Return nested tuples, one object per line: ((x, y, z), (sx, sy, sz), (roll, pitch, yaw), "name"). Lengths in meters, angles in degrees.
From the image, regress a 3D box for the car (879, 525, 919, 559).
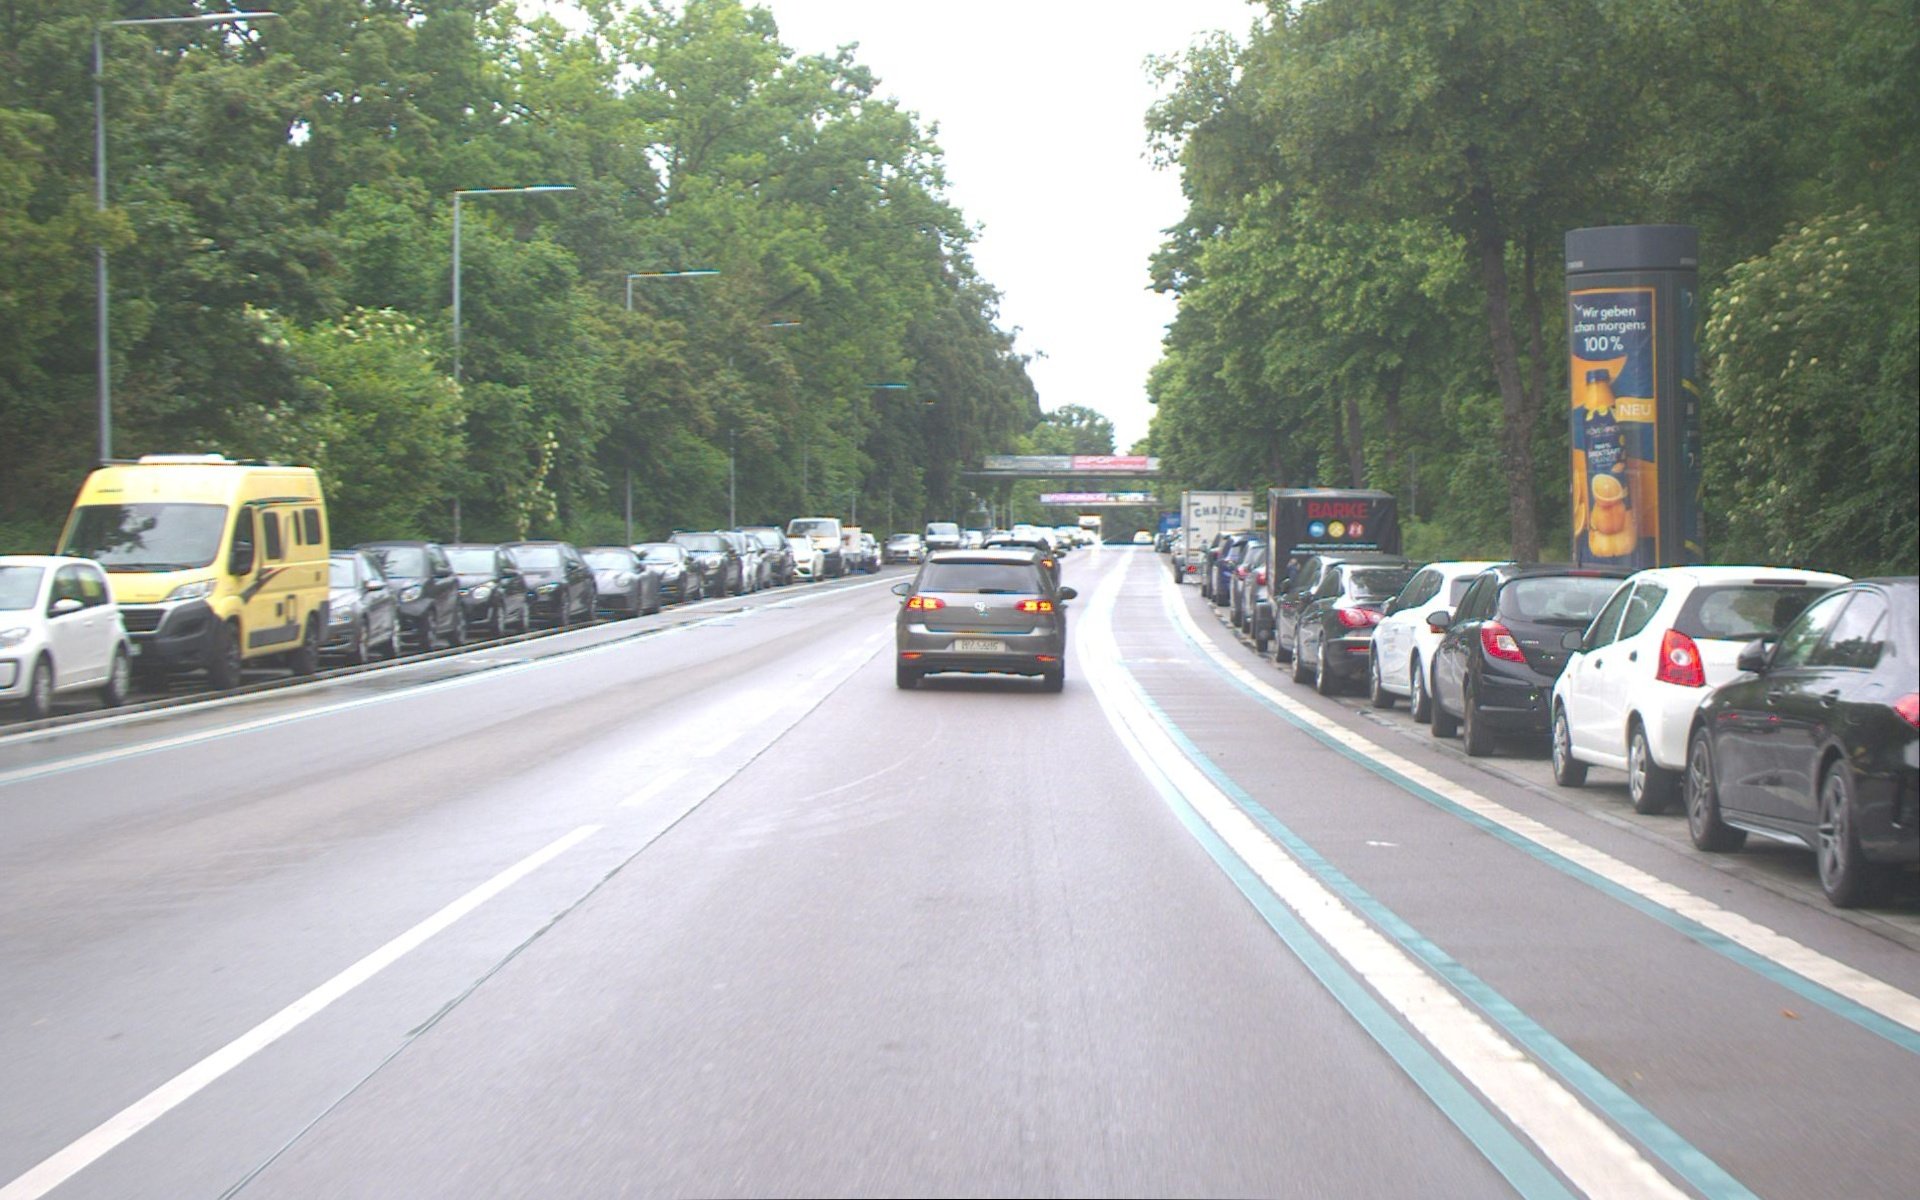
((-2.796, -2.689, 158.289), (1.672, 1.508, 3.630), (1, 2, 2), "car")

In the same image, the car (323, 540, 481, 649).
((-8.046, -0.101, 49.816), (1.603, 1.505, 3.138), (0, 1, 4), "car")

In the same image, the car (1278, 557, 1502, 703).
((4.554, 0.278, 36.992), (1.751, 1.388, 4.446), (2, 1, -1), "car")

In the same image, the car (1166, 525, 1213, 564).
((9.548, -2.317, 142.981), (1.897, 1.601, 4.000), (0, 1, 3), "car")

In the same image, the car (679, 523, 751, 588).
((-5.976, -1.102, 84.093), (1.461, 1.566, 2.984), (0, 1, 2), "car")

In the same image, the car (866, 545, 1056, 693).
((0.034, 0.191, 36.644), (1.871, 1.436, 4.296), (2, 0, 1), "car")

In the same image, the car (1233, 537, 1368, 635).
((5.249, -0.246, 53.451), (1.795, 1.445, 4.428), (0, 1, 2), "car")

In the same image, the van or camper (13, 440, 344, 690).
((-8.712, -0.430, 38.912), (2.144, 2.618, 5.682), (0, 1, 3), "van or camper")

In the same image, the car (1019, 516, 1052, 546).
((4.433, -4.046, 200.700), (1.822, 1.700, 3.857), (1, 1, 3), "car")

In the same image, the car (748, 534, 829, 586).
((-5.115, -1.217, 102.981), (1.994, 1.483, 4.468), (0, 1, 3), "car")

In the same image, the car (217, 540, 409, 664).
((-8.364, -0.014, 44.757), (1.679, 1.493, 4.149), (-1, 1, 0), "car")

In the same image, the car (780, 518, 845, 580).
((-4.849, -1.695, 113.356), (1.940, 2.007, 4.740), (0, 1, 0), "car")

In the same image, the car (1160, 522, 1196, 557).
((12.829, -3.560, 202.601), (1.993, 2.007, 4.000), (0, 1, 2), "car")

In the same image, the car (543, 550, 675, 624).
((-6.575, -0.265, 64.776), (1.870, 1.299, 4.470), (0, 1, 2), "car")

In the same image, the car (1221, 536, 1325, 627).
((5.346, -0.349, 59.073), (1.615, 1.465, 4.000), (1, 1, 3), "car")

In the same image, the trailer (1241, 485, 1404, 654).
((5.015, -0.467, 48.061), (1.906, 2.240, 4.768), (0, 1, 2), "trailer")

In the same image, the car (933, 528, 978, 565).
((-0.226, -2.979, 190.666), (2.159, 2.007, 5.030), (0, 1, 4), "car")

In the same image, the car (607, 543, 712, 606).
((-6.488, -0.567, 74.497), (1.696, 1.296, 4.192), (0, 1, 3), "car")

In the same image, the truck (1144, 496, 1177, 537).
((12.684, -5.296, 217.664), (2.113, 2.590, 4.301), (0, 1, 3), "truck")

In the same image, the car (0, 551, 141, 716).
((-9.109, 0.284, 32.618), (1.617, 1.443, 3.657), (-1, 1, 3), "car")

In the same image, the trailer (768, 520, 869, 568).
((-4.839, -1.945, 118.211), (1.628, 1.623, 3.665), (1, 2, 34), "trailer")

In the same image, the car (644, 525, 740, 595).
((-6.181, -0.945, 79.647), (1.696, 1.578, 4.138), (0, 1, 3), "car")

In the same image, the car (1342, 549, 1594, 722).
((4.688, 0.288, 32.214), (1.617, 1.461, 4.000), (1, 1, -2), "car")

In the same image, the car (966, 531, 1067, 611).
((1.105, -0.606, 68.981), (1.881, 1.461, 4.000), (2, 1, 0), "car")

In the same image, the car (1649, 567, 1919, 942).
((4.628, 0.613, 16.163), (1.856, 1.450, 4.751), (1, 1, 1), "car")

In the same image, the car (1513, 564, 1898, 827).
((4.586, 0.533, 21.628), (1.559, 1.455, 3.676), (1, 1, -1), "car")

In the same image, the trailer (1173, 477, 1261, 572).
((7.038, -2.083, 94.568), (2.132, 2.551, 4.297), (0, 1, 0), "trailer")

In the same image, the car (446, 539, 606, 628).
((-7.478, -0.314, 59.653), (1.994, 1.447, 4.138), (0, 1, 4), "car")

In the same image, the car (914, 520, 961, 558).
((-1.181, -3.264, 182.620), (2.159, 2.007, 5.030), (0, 1, 4), "car")

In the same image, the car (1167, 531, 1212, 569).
((9.836, -2.149, 147.596), (1.897, 1.601, 4.000), (0, 1, 3), "car")

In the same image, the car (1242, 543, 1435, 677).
((4.616, 0.084, 42.465), (1.822, 1.480, 4.200), (2, 1, -1), "car")

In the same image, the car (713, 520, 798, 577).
((-5.721, -1.451, 96.505), (1.879, 1.556, 4.468), (0, 1, 3), "car")

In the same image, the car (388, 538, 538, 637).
((-7.936, -0.231, 55.164), (1.603, 1.505, 3.976), (0, 1, 4), "car")

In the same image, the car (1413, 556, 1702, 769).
((4.633, 0.432, 27.151), (1.659, 1.460, 3.900), (2, 1, 2), "car")

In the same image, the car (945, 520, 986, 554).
((0.367, -3.817, 207.594), (2.159, 2.007, 5.030), (0, 1, 4), "car")

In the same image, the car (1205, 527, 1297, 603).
((6.051, -0.756, 71.734), (1.682, 1.476, 4.318), (1, 2, 2), "car")
